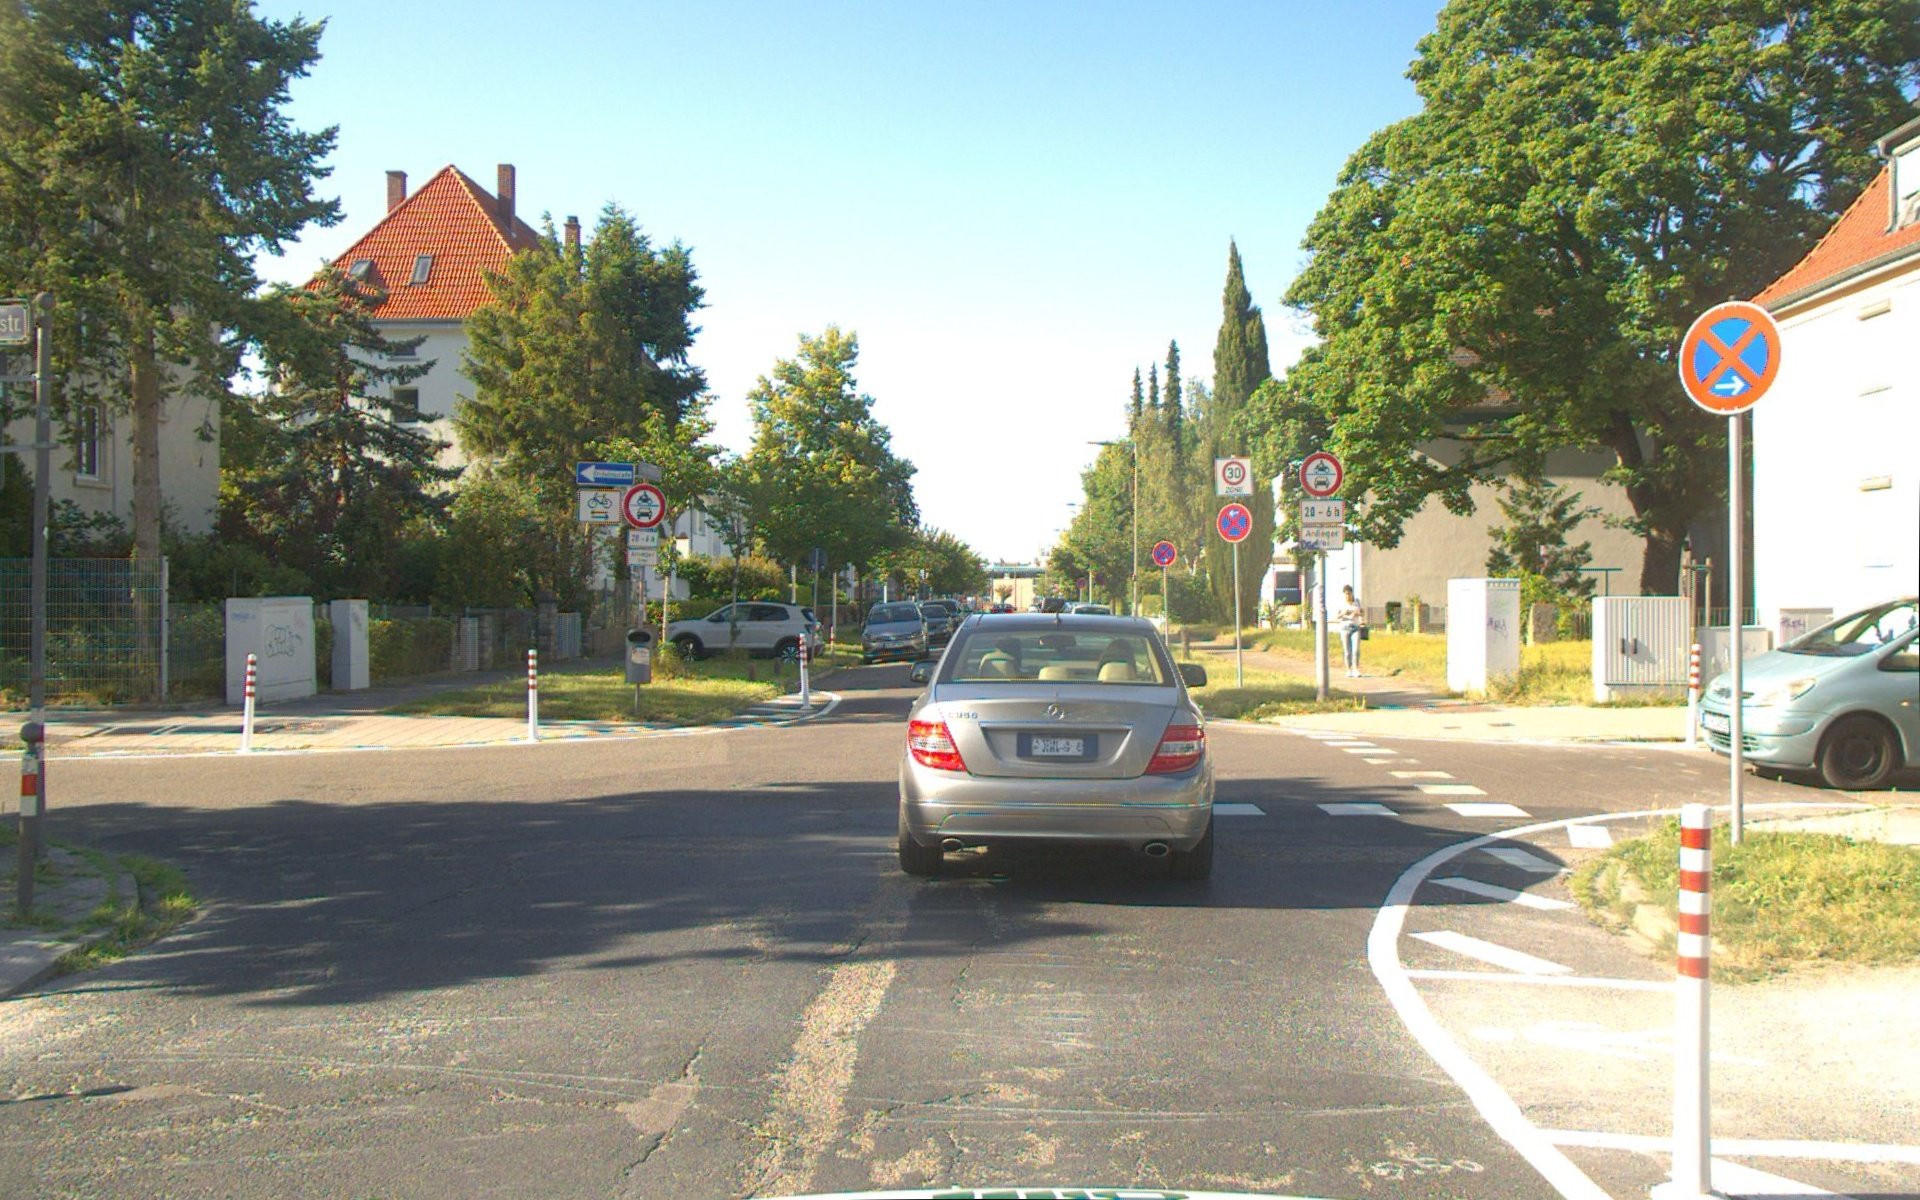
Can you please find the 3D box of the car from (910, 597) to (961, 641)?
[{"bbox_3d":[-0.980,0.762,68.957,1.953,1.637,4.000,-4,0,0],"label":"car"}]

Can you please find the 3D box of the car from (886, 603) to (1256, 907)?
[{"bbox_3d":[0.641,0.756,10.058,1.798,1.466,4.001,0,0,3],"label":"car"}]

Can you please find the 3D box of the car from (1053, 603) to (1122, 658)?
[{"bbox_3d":[3.624,0.844,47.521,1.698,1.505,3.725,-1,0,0],"label":"car"}]

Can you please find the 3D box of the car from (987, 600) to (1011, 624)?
[{"bbox_3d":[2.728,0.821,115.139,1.564,1.638,3.643,-1,0,0],"label":"car"}]

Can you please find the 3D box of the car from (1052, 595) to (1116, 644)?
[{"bbox_3d":[4.341,0.648,58.308,1.953,1.638,4.000,-1,0,0],"label":"car"}]

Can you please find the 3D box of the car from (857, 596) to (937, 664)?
[{"bbox_3d":[-1.676,0.781,45.357,1.953,1.637,4.000,-4,0,0],"label":"car"}]

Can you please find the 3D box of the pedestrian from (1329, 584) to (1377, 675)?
[{"bbox_3d":[7.219,0.537,30.427,0.750,1.639,0.835,-1,0,7],"label":"pedestrian"}]

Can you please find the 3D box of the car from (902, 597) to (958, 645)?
[{"bbox_3d":[-1.112,0.760,63.163,1.953,1.637,4.000,-4,0,0],"label":"car"}]

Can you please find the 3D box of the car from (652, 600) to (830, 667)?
[{"bbox_3d":[-5.277,0.794,40.302,4.107,1.591,1.842,0,0,-1],"label":"car"}]

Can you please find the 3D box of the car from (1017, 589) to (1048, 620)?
[{"bbox_3d":[4.492,0.291,103.108,1.816,1.873,4.001,-1,0,1],"label":"car"}]

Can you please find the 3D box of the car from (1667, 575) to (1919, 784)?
[{"bbox_3d":[8.448,0.610,13.963,4.145,1.636,1.889,-1,0,3],"label":"car"}]
